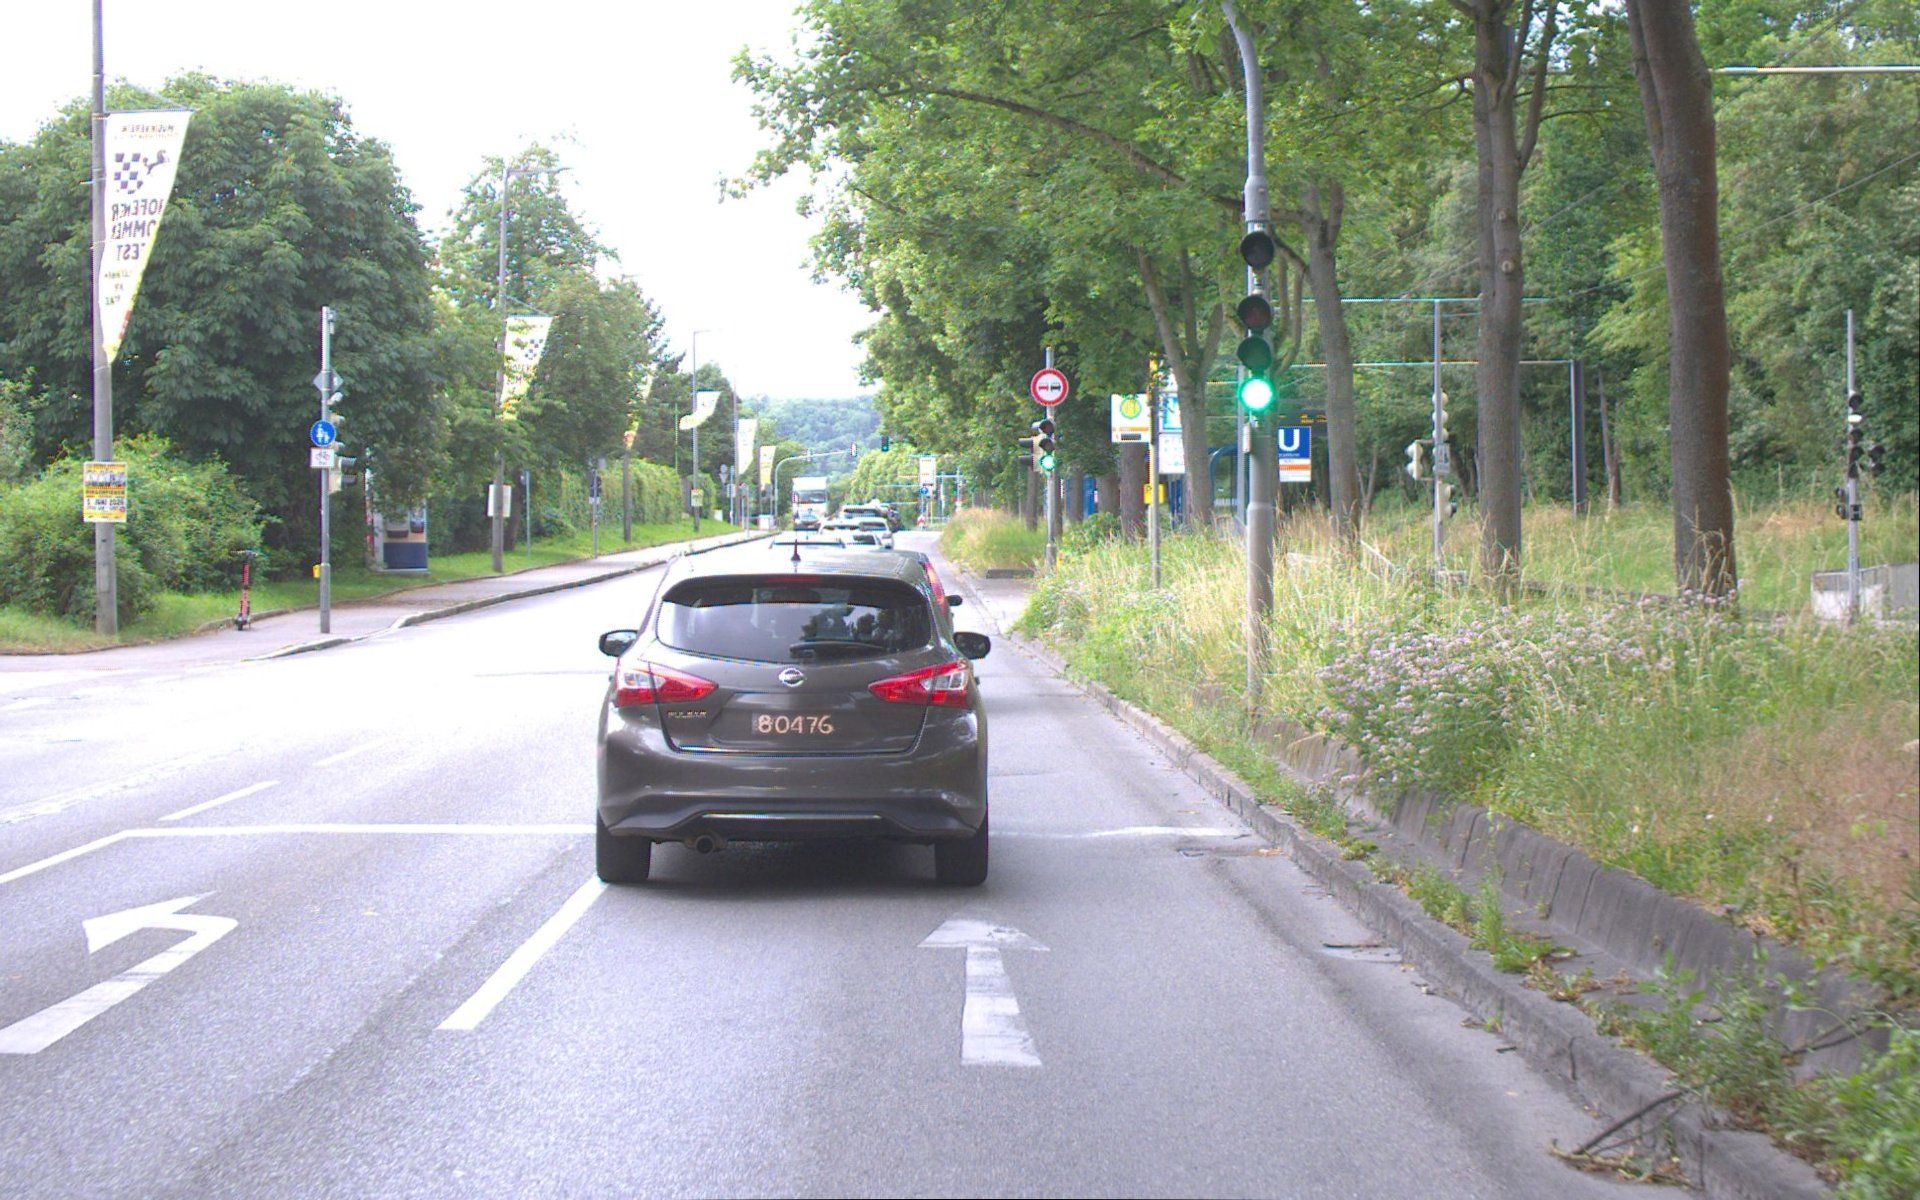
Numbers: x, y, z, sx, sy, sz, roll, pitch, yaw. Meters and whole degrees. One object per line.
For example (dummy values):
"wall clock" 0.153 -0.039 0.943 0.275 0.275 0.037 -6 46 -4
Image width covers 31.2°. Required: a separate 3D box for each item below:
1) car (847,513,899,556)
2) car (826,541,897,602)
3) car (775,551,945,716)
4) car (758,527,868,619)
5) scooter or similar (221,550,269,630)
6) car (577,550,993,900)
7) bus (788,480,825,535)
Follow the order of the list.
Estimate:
"car" -2.909 -2.203 115.515 1.691 1.436 3.542 0 1 -1
"car" -2.381 -0.716 83.775 1.691 1.436 3.542 0 1 -1
"car" -0.920 0.270 32.265 1.502 1.436 3.542 0 1 -1
"car" -2.349 -0.458 55.682 1.691 1.436 3.542 0 1 -1
"scooter or similar" -11.440 -0.169 55.003 0.462 1.254 1.426 0 1 0
"car" -0.770 0.512 16.620 1.783 1.501 3.696 0 1 -1
"bus" -11.416 -6.911 256.148 2.487 4.012 10.218 0 1 -1
